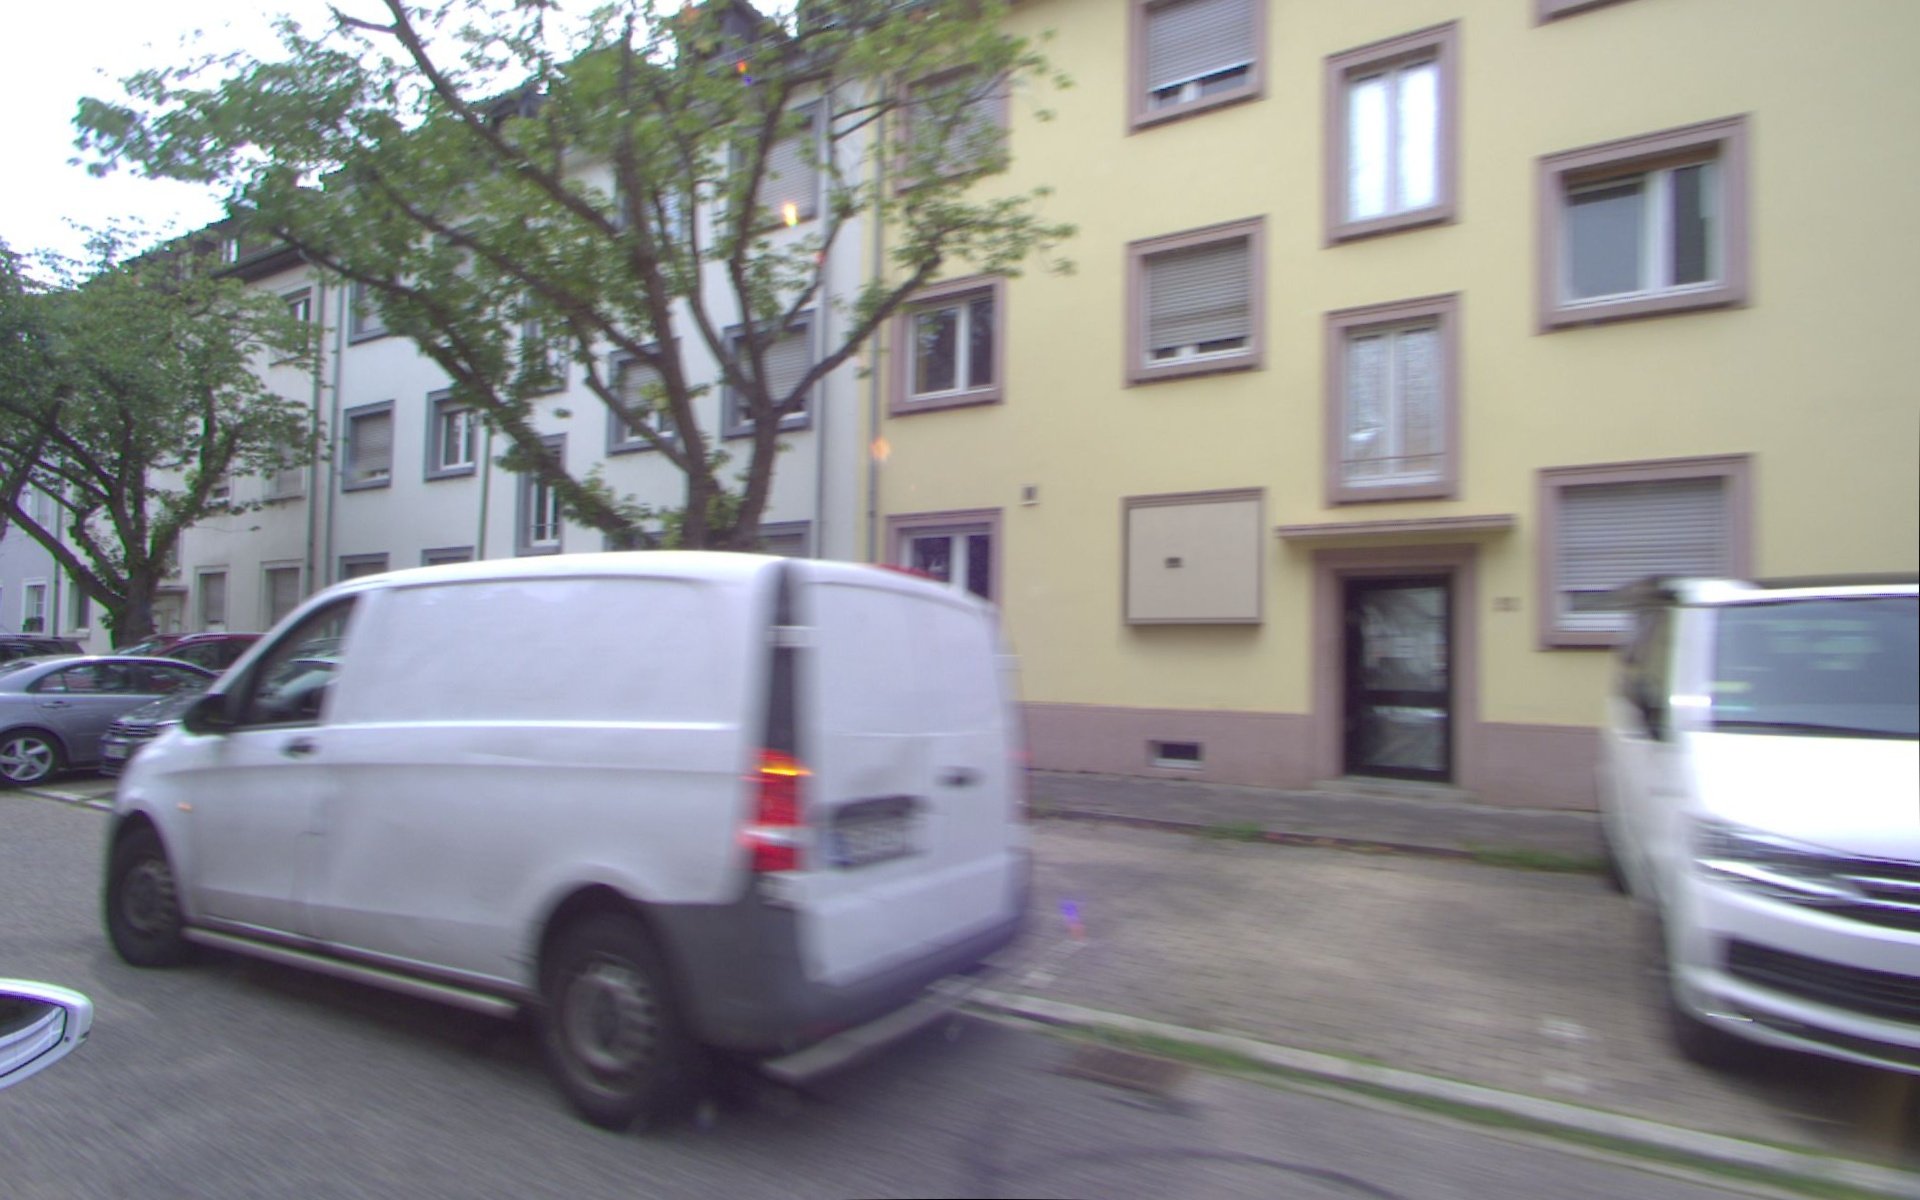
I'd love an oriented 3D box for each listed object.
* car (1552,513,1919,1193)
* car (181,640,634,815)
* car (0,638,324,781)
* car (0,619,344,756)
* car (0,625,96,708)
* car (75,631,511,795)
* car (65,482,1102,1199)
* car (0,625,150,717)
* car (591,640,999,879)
[{"bbox_3d":[4.468,0.814,5.153,2.041,2.049,5.228,-1,-2,26],"label":"car"},{"bbox_3d":[-5.574,1.164,10.640,1.614,1.438,3.982,-1,-2,30],"label":"car"},{"bbox_3d":[-10.214,1.214,12.052,1.740,1.473,3.982,-1,-2,30],"label":"car"},{"bbox_3d":[-11.637,1.148,14.564,1.877,1.699,4.206,-1,-2,33],"label":"car"},{"bbox_3d":[-19.840,1.301,19.491,1.874,1.618,4.212,-1,-2,28],"label":"car"},{"bbox_3d":[-7.539,1.149,11.747,1.614,1.556,3.982,-1,-2,30],"label":"car"},{"bbox_3d":[-1.874,0.770,4.716,4.632,1.937,1.994,-1,-5,29],"label":"car"},{"bbox_3d":[-17.741,1.272,18.276,1.875,1.618,4.212,-1,-2,28],"label":"car"},{"bbox_3d":[-1.246,1.178,8.861,1.787,1.594,3.475,-1,-2,30],"label":"car"}]
